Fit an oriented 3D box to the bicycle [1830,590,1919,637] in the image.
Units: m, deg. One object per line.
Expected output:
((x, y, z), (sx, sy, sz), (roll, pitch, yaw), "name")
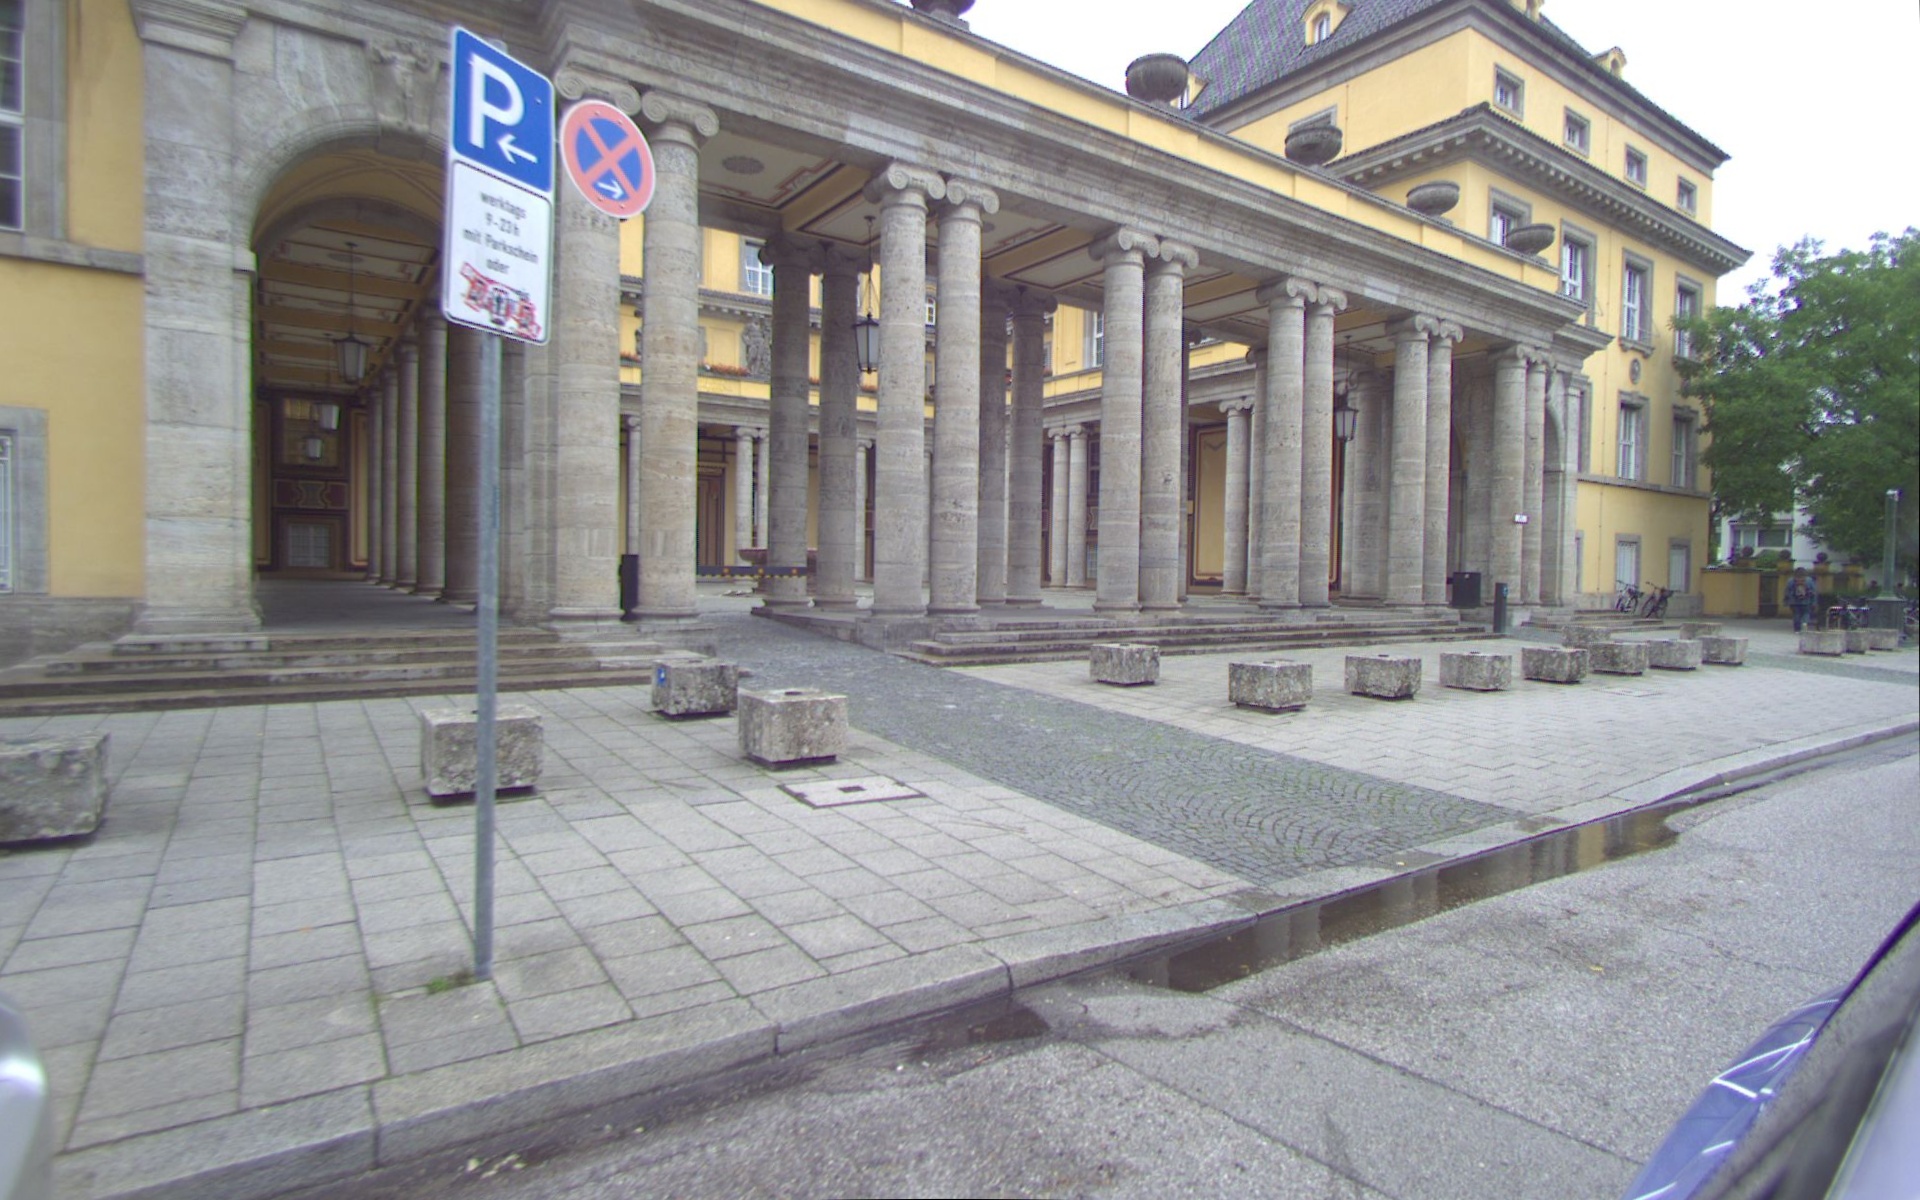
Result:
((23.423, 0.352, 25.349), (0.666, 1.018, 2.366), (0, 5, -43), "bicycle")

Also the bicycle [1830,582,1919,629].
((25.367, 0.158, 27.668), (0.592, 1.071, 2.260), (-2, 8, -45), "bicycle")

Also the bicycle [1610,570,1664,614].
((21.156, -0.251, 31.621), (2.221, 1.323, 0.602), (0, 2, -35), "bicycle")

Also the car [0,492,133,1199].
((-2.522, 0.670, 0.702), (2.877, 1.566, 1.611), (0, 0, -35), "car")

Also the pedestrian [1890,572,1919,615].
((40.269, -0.272, 43.090), (0.825, 1.764, 0.742), (-1, 5, -35), "pedestrian")

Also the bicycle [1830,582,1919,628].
((25.973, 0.151, 28.368), (0.592, 1.035, 2.260), (-2, 8, -45), "bicycle")

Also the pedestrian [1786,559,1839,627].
((22.766, -0.210, 27.033), (1.036, 1.767, 0.791), (0, 2, -35), "pedestrian")

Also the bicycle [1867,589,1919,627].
((27.886, 0.265, 29.312), (0.590, 1.023, 2.267), (1, 4, -32), "bicycle")

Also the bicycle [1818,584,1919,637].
((24.074, 0.269, 26.542), (0.592, 1.107, 2.260), (-2, 8, -45), "bicycle")

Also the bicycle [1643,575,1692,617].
((23.047, -0.153, 32.952), (2.124, 1.323, 0.602), (0, 2, -35), "bicycle")
